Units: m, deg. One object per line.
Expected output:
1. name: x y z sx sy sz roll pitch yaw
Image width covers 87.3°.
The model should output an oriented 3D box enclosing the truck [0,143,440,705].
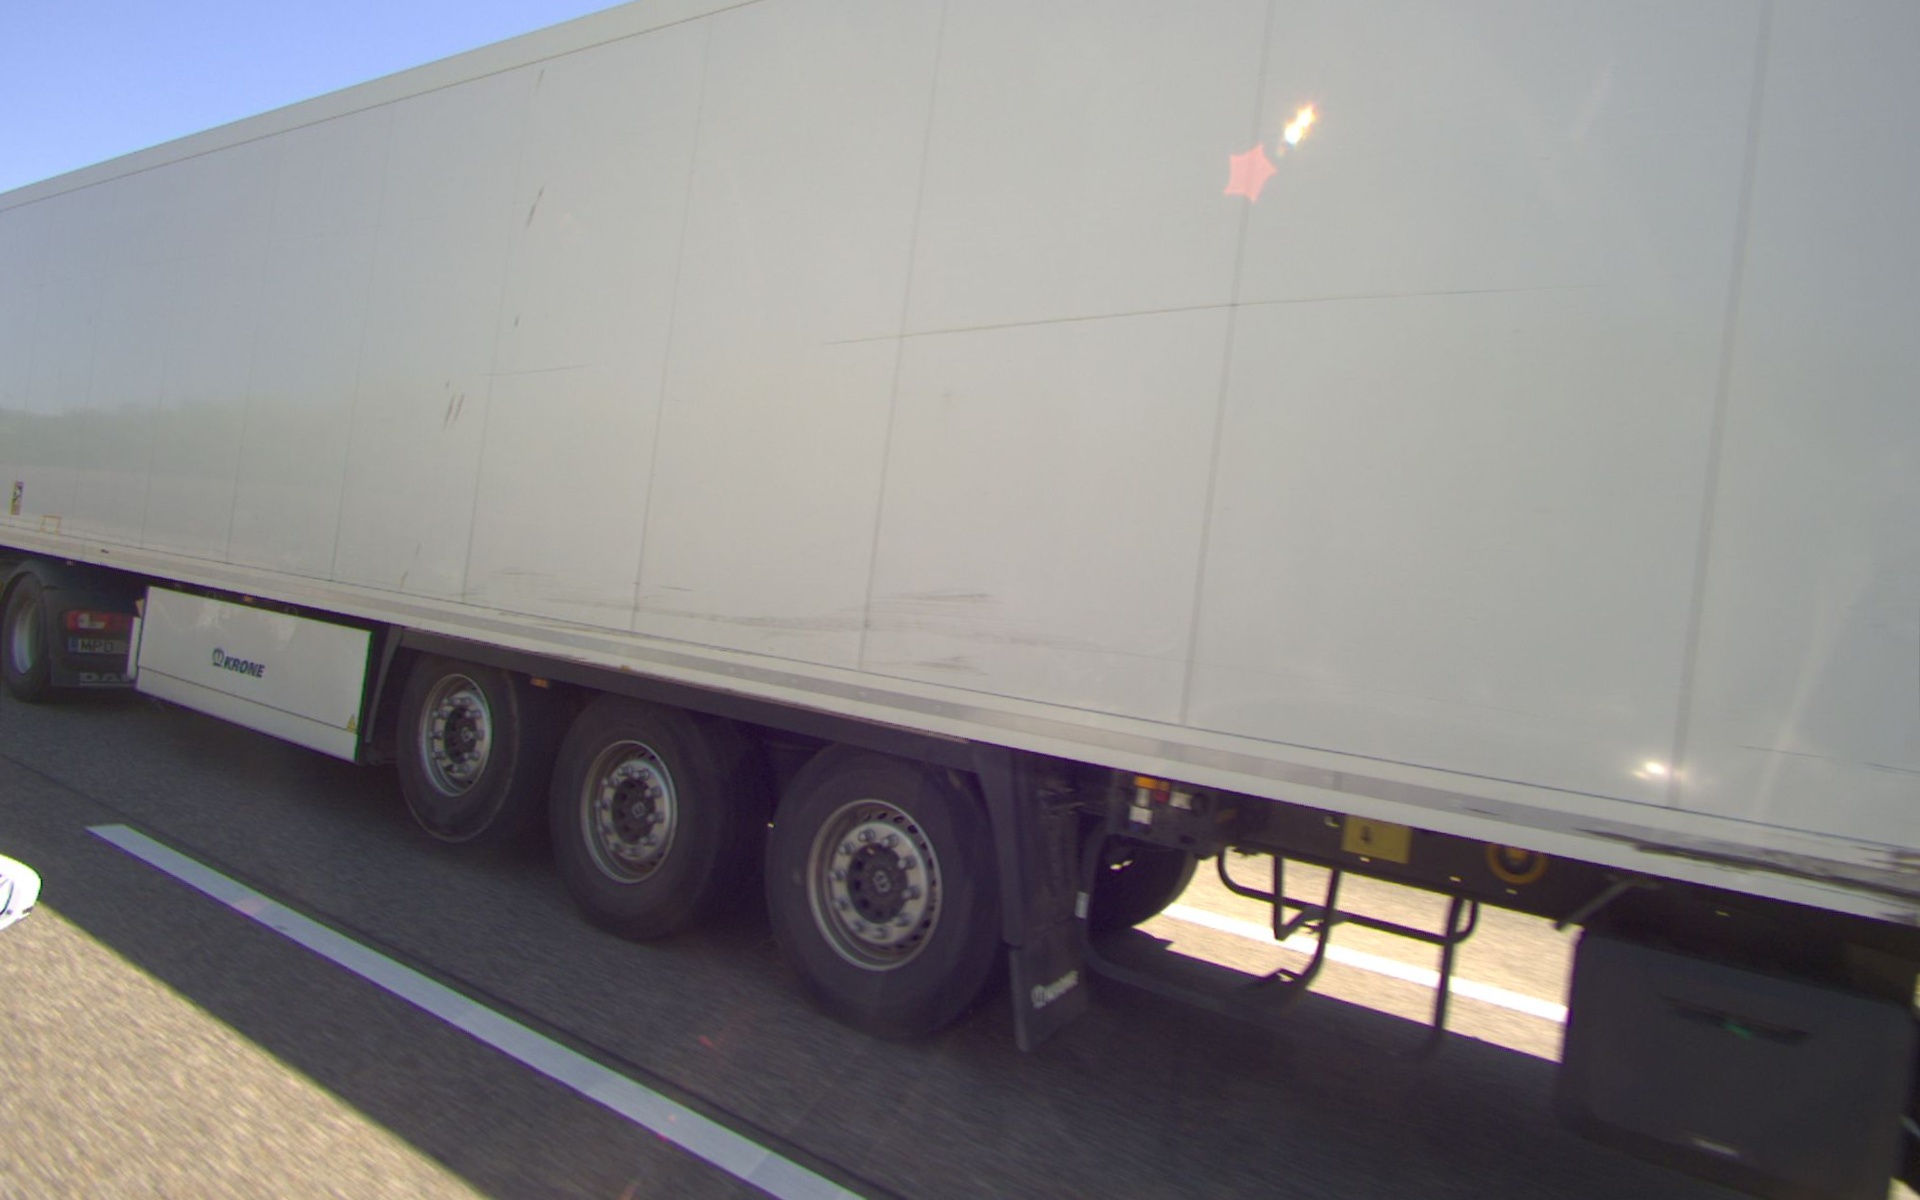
1. truck: -8.753 -1.462 10.256 6.103 4.154 2.965 6 -1 31

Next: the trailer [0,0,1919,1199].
1. trailer: -2.210 -0.788 6.265 12.322 4.154 2.965 6 -1 31
